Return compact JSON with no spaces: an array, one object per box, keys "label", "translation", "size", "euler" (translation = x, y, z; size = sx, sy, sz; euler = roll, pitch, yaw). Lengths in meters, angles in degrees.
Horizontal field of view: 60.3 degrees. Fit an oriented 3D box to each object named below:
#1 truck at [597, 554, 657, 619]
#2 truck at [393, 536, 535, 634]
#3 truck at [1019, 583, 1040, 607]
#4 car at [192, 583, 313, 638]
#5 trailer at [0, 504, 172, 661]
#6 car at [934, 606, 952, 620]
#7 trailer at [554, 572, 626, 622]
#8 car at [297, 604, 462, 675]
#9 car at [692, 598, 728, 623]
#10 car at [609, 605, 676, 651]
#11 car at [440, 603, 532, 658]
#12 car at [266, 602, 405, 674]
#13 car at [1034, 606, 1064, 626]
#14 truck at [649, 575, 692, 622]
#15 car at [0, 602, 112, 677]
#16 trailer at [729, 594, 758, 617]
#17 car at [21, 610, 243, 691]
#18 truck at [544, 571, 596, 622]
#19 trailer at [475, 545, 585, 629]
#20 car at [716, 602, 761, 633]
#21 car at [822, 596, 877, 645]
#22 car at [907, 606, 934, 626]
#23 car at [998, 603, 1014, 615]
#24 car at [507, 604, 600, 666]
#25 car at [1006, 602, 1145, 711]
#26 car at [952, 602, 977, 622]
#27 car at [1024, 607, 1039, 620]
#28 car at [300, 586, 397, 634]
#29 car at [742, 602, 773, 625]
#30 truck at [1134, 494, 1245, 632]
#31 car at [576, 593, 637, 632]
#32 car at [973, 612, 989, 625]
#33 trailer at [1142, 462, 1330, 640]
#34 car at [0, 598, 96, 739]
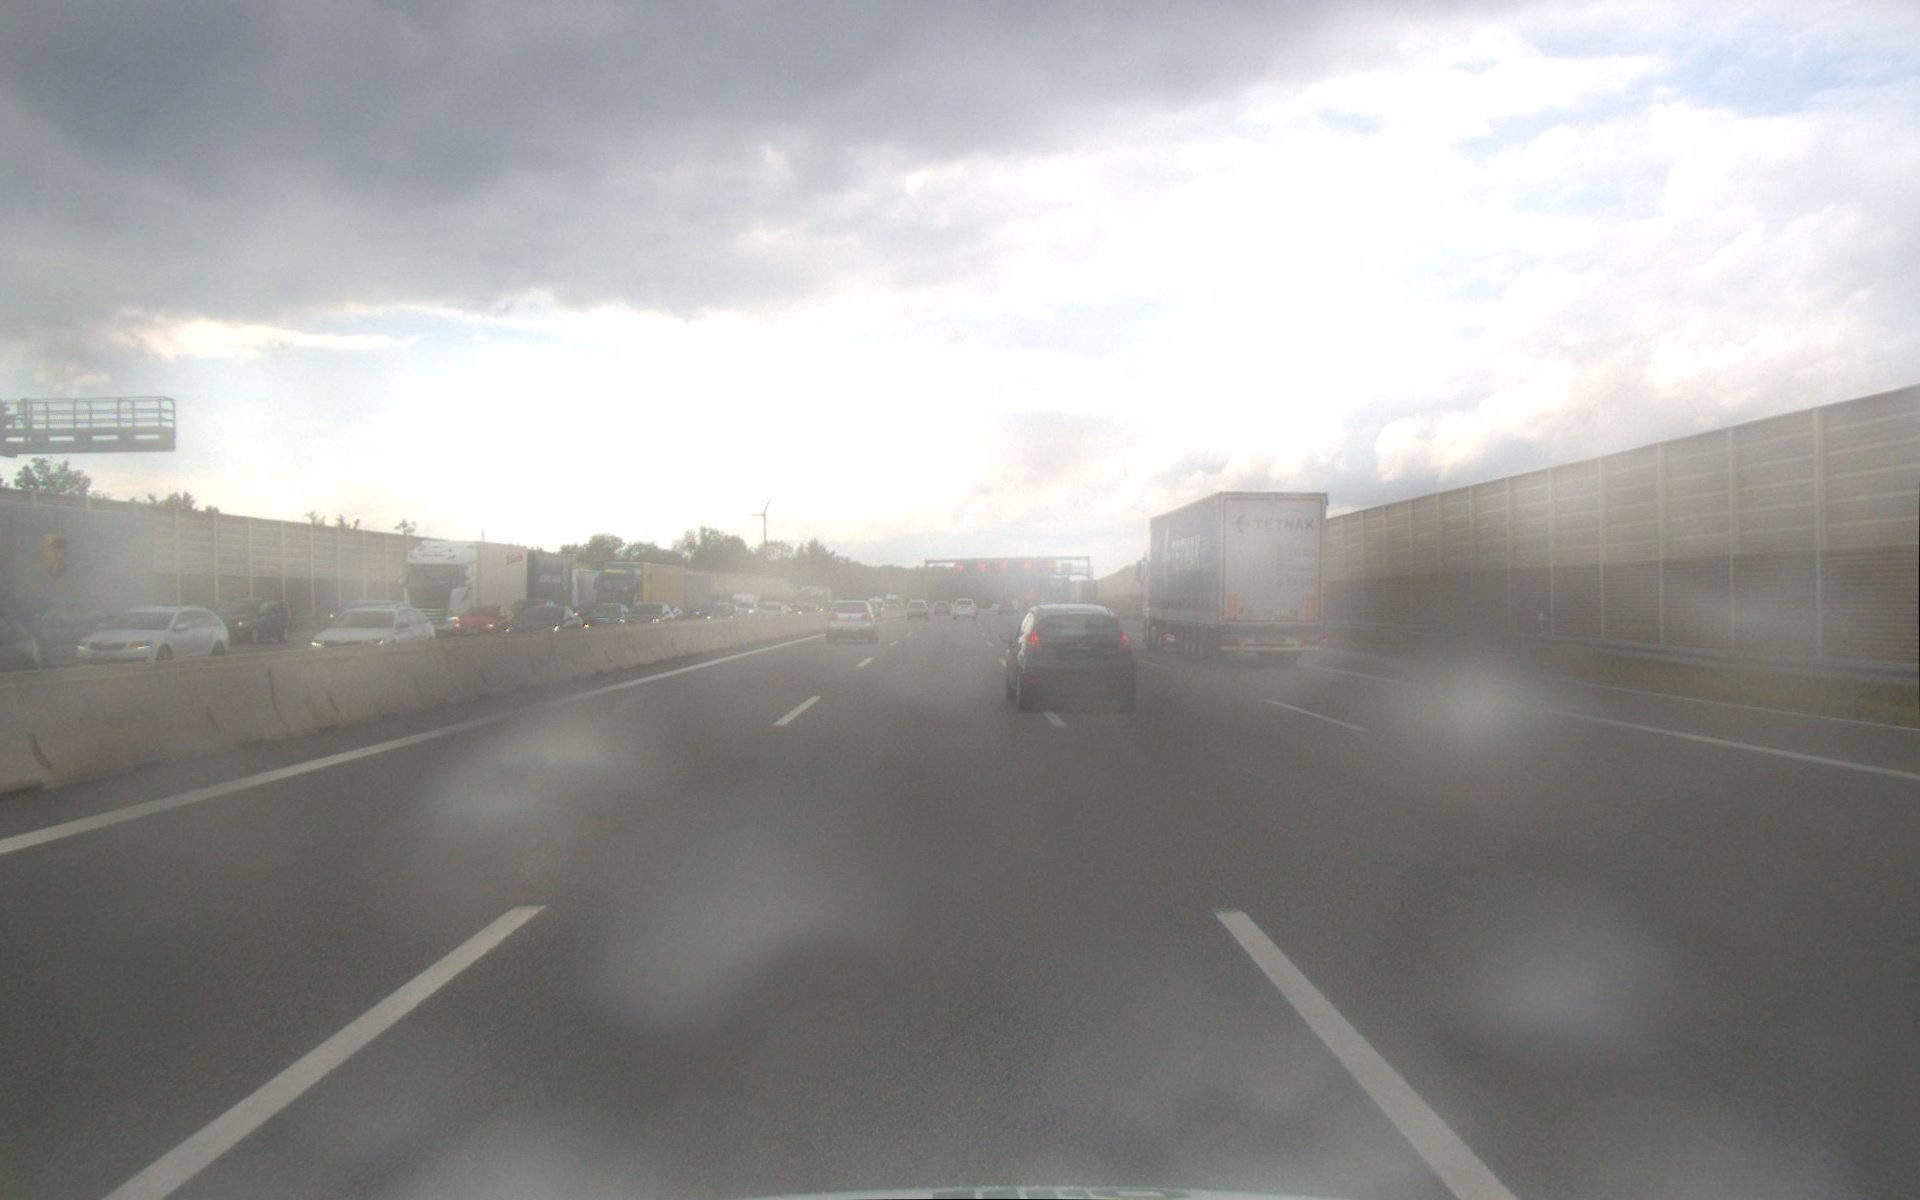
[{"label":"truck","translation":[-21.493,-0.826,106.993],"size":[2.688,4.105,5.725],"euler":[0,0,0]},{"label":"truck","translation":[-21.886,-0.628,73.733],"size":[2.877,4.014,11.067],"euler":[0,0,1]},{"label":"truck","translation":[10.860,-0.742,258.365],"size":[3.086,3.665,12.703],"euler":[1,0,3]},{"label":"car","translation":[-25.884,0.360,60.754],"size":[2.019,1.925,5.806],"euler":[0,0,-1]},{"label":"trailer","translation":[-25.466,-0.431,46.017],"size":[2.666,3.940,9.283],"euler":[0,0,0]},{"label":"car","translation":[-2.015,1.586,198.195],"size":[1.927,1.588,4.434],"euler":[-1,-1,3]},{"label":"trailer","translation":[-32.075,-0.214,143.928],"size":[2.875,4.102,13.861],"euler":[0,0,1]},{"label":"car","translation":[-14.138,0.909,40.701],"size":[2.019,1.591,5.807],"euler":[0,0,0]},{"label":"car","translation":[-18.114,0.743,119.851],"size":[2.019,1.729,4.410],"euler":[0,0,-1]},{"label":"car","translation":[-14.570,1.258,76.175],"size":[2.019,2.037,5.806],"euler":[0,0,-1]},{"label":"car","translation":[-18.450,1.150,64.687],"size":[2.019,2.037,5.806],"euler":[0,0,-1]},{"label":"car","translation":[-18.907,1.088,50.366],"size":[2.019,2.037,5.807],"euler":[0,0,0]},{"label":"car","translation":[6.480,1.164,120.274],"size":[1.910,1.443,4.231],"euler":[0,-1,0]},{"label":"truck","translation":[-25.441,-0.126,145.524],"size":[2.688,4.105,5.726],"euler":[0,0,1]},{"label":"car","translation":[-21.778,0.857,37.568],"size":[2.019,1.628,5.807],"euler":[0,0,0]},{"label":"trailer","translation":[-24.563,0.621,187.985],"size":[2.408,2.539,6.086],"euler":[0,0,1]},{"label":"car","translation":[-18.297,1.058,36.931],"size":[2.019,1.628,5.807],"euler":[0,0,0]},{"label":"truck","translation":[-32.169,-0.263,136.618],"size":[2.857,4.105,5.726],"euler":[0,0,1]},{"label":"trailer","translation":[-21.750,-0.629,84.310],"size":[2.870,4.008,10.120],"euler":[0,0,1]},{"label":"car","translation":[-13.353,1.044,100.186],"size":[2.019,1.786,5.806],"euler":[0,0,-1]},{"label":"car","translation":[-3.883,0.702,58.748],"size":[1.682,1.652,4.278],"euler":[0,0,0]},{"label":"car","translation":[-3.327,1.331,139.433],"size":[1.927,1.588,4.434],"euler":[-1,-1,3]},{"label":"car","translation":[6.234,1.148,223.647],"size":[1.926,1.588,4.436],"euler":[0,0,6]},{"label":"car","translation":[-14.299,1.187,58.501],"size":[2.019,2.037,5.805],"euler":[0,0,-2]},{"label":"car","translation":[1.603,0.757,24.272],"size":[1.682,1.442,4.277],"euler":[0,0,-1]},{"label":"car","translation":[0.429,1.018,141.563],"size":[1.927,1.588,4.434],"euler":[-1,-1,3]},{"label":"car","translation":[8.987,1.659,206.635],"size":[1.843,1.588,4.434],"euler":[-1,-1,3]},{"label":"car","translation":[-25.938,0.405,70.371],"size":[2.019,1.925,5.806],"euler":[0,0,-1]},{"label":"car","translation":[-16.728,1.089,136.885],"size":[2.019,1.848,4.777],"euler":[0,0,-1]},{"label":"truck","translation":[7.143,-1.089,52.196],"size":[2.688,4.105,5.725],"euler":[0,0,0]},{"label":"car","translation":[-18.237,0.609,85.604],"size":[2.019,1.925,5.806],"euler":[0,0,-1]},{"label":"car","translation":[2.724,2.316,211.561],"size":[1.927,1.588,4.433],"euler":[-1,-1,2]},{"label":"trailer","translation":[7.157,-1.096,45.377],"size":[2.705,4.102,14.451],"euler":[0,0,0]},{"label":"car","translation":[-14.132,0.944,22.487],"size":[1.894,1.930,5.432],"euler":[0,0,0]}]
